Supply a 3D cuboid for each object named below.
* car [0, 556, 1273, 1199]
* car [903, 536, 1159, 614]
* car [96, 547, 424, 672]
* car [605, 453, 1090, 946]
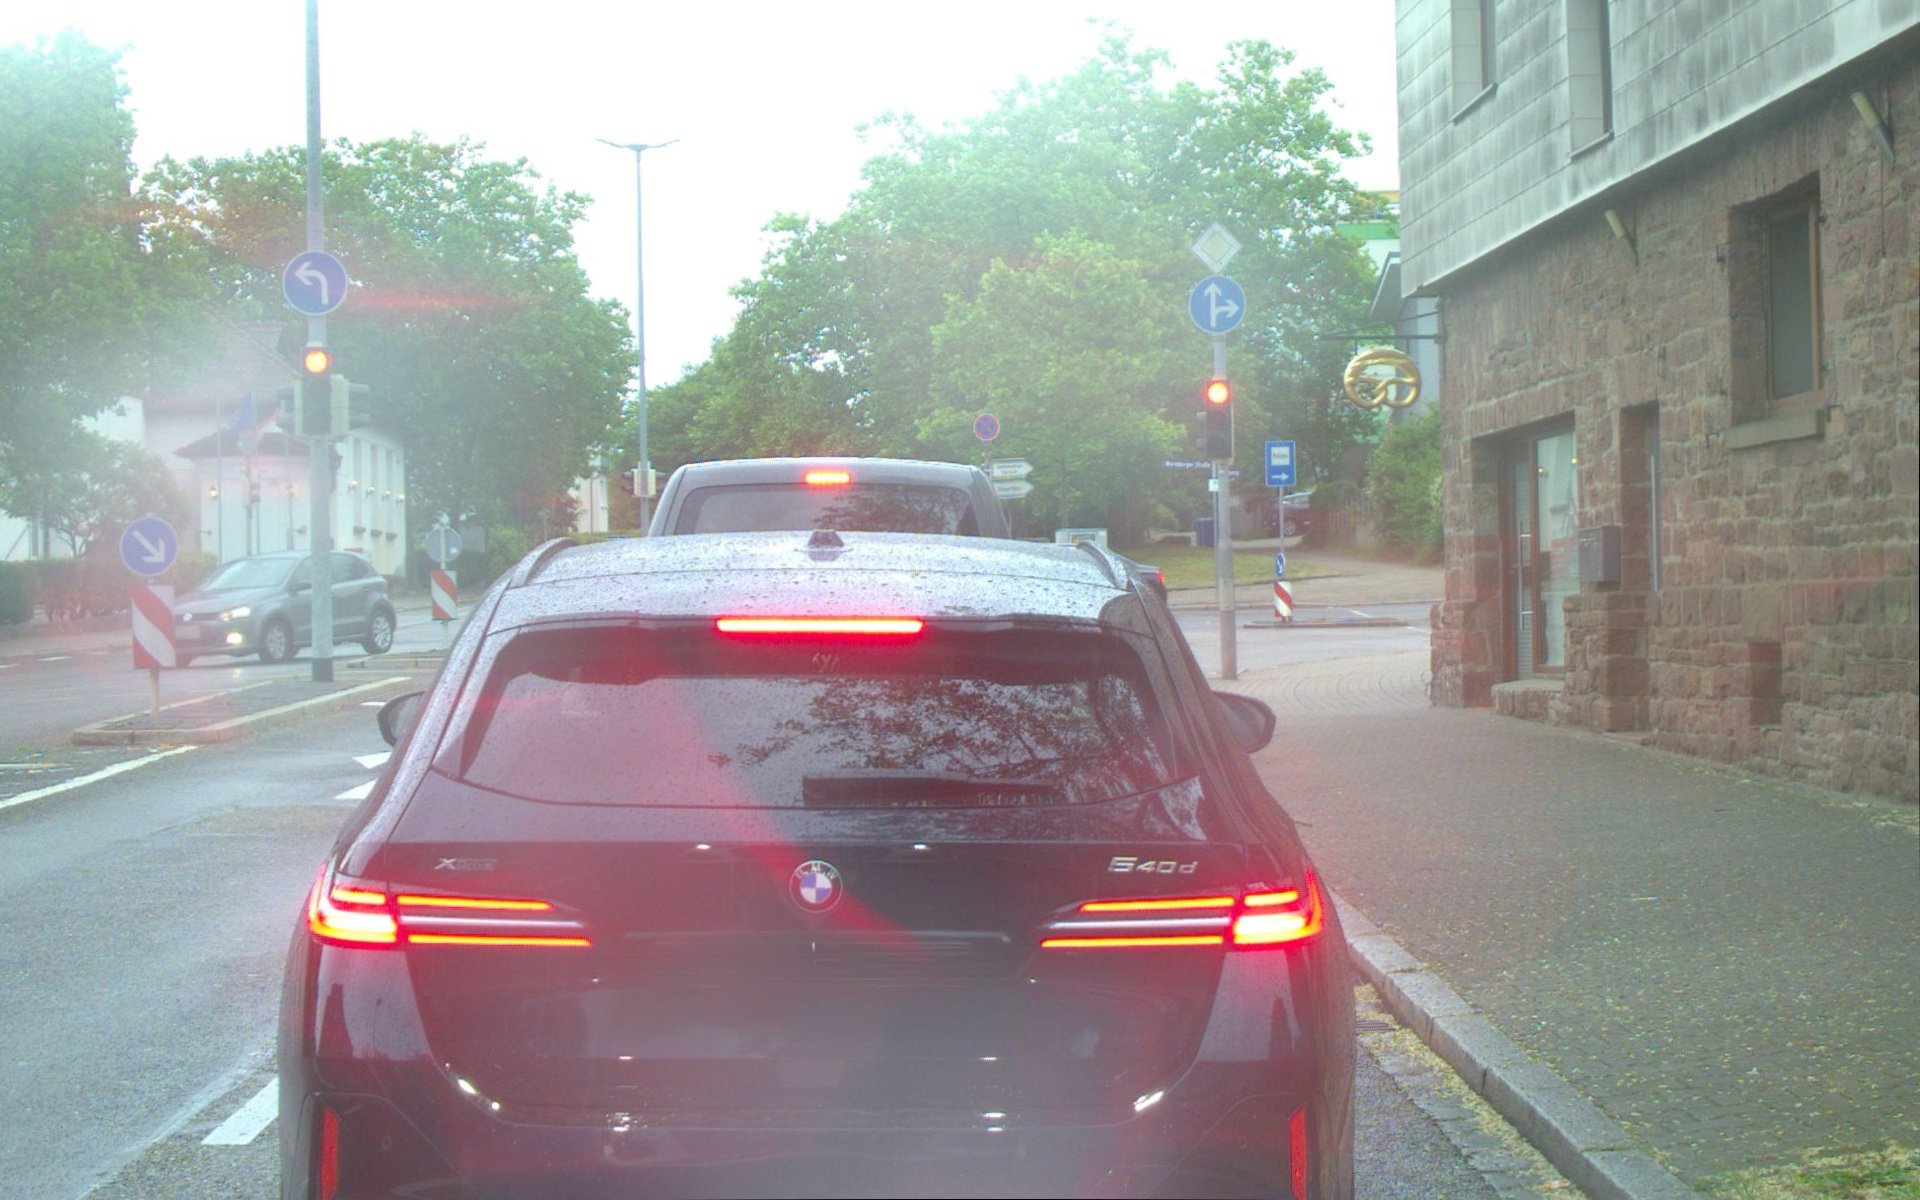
[{"bbox_3d":[-0.681,0.643,7.423,2.064,1.441,4.484,0,1,-3],"label":"car"},{"bbox_3d":[1.226,-0.452,59.082,3.986,1.284,1.849,-1,1,-23],"label":"car"},{"bbox_3d":[-9.017,0.088,44.558,1.997,1.504,3.948,0,1,32],"label":"car"},{"bbox_3d":[-0.508,0.322,14.702,1.783,1.811,4.001,0,1,-3],"label":"car"}]
